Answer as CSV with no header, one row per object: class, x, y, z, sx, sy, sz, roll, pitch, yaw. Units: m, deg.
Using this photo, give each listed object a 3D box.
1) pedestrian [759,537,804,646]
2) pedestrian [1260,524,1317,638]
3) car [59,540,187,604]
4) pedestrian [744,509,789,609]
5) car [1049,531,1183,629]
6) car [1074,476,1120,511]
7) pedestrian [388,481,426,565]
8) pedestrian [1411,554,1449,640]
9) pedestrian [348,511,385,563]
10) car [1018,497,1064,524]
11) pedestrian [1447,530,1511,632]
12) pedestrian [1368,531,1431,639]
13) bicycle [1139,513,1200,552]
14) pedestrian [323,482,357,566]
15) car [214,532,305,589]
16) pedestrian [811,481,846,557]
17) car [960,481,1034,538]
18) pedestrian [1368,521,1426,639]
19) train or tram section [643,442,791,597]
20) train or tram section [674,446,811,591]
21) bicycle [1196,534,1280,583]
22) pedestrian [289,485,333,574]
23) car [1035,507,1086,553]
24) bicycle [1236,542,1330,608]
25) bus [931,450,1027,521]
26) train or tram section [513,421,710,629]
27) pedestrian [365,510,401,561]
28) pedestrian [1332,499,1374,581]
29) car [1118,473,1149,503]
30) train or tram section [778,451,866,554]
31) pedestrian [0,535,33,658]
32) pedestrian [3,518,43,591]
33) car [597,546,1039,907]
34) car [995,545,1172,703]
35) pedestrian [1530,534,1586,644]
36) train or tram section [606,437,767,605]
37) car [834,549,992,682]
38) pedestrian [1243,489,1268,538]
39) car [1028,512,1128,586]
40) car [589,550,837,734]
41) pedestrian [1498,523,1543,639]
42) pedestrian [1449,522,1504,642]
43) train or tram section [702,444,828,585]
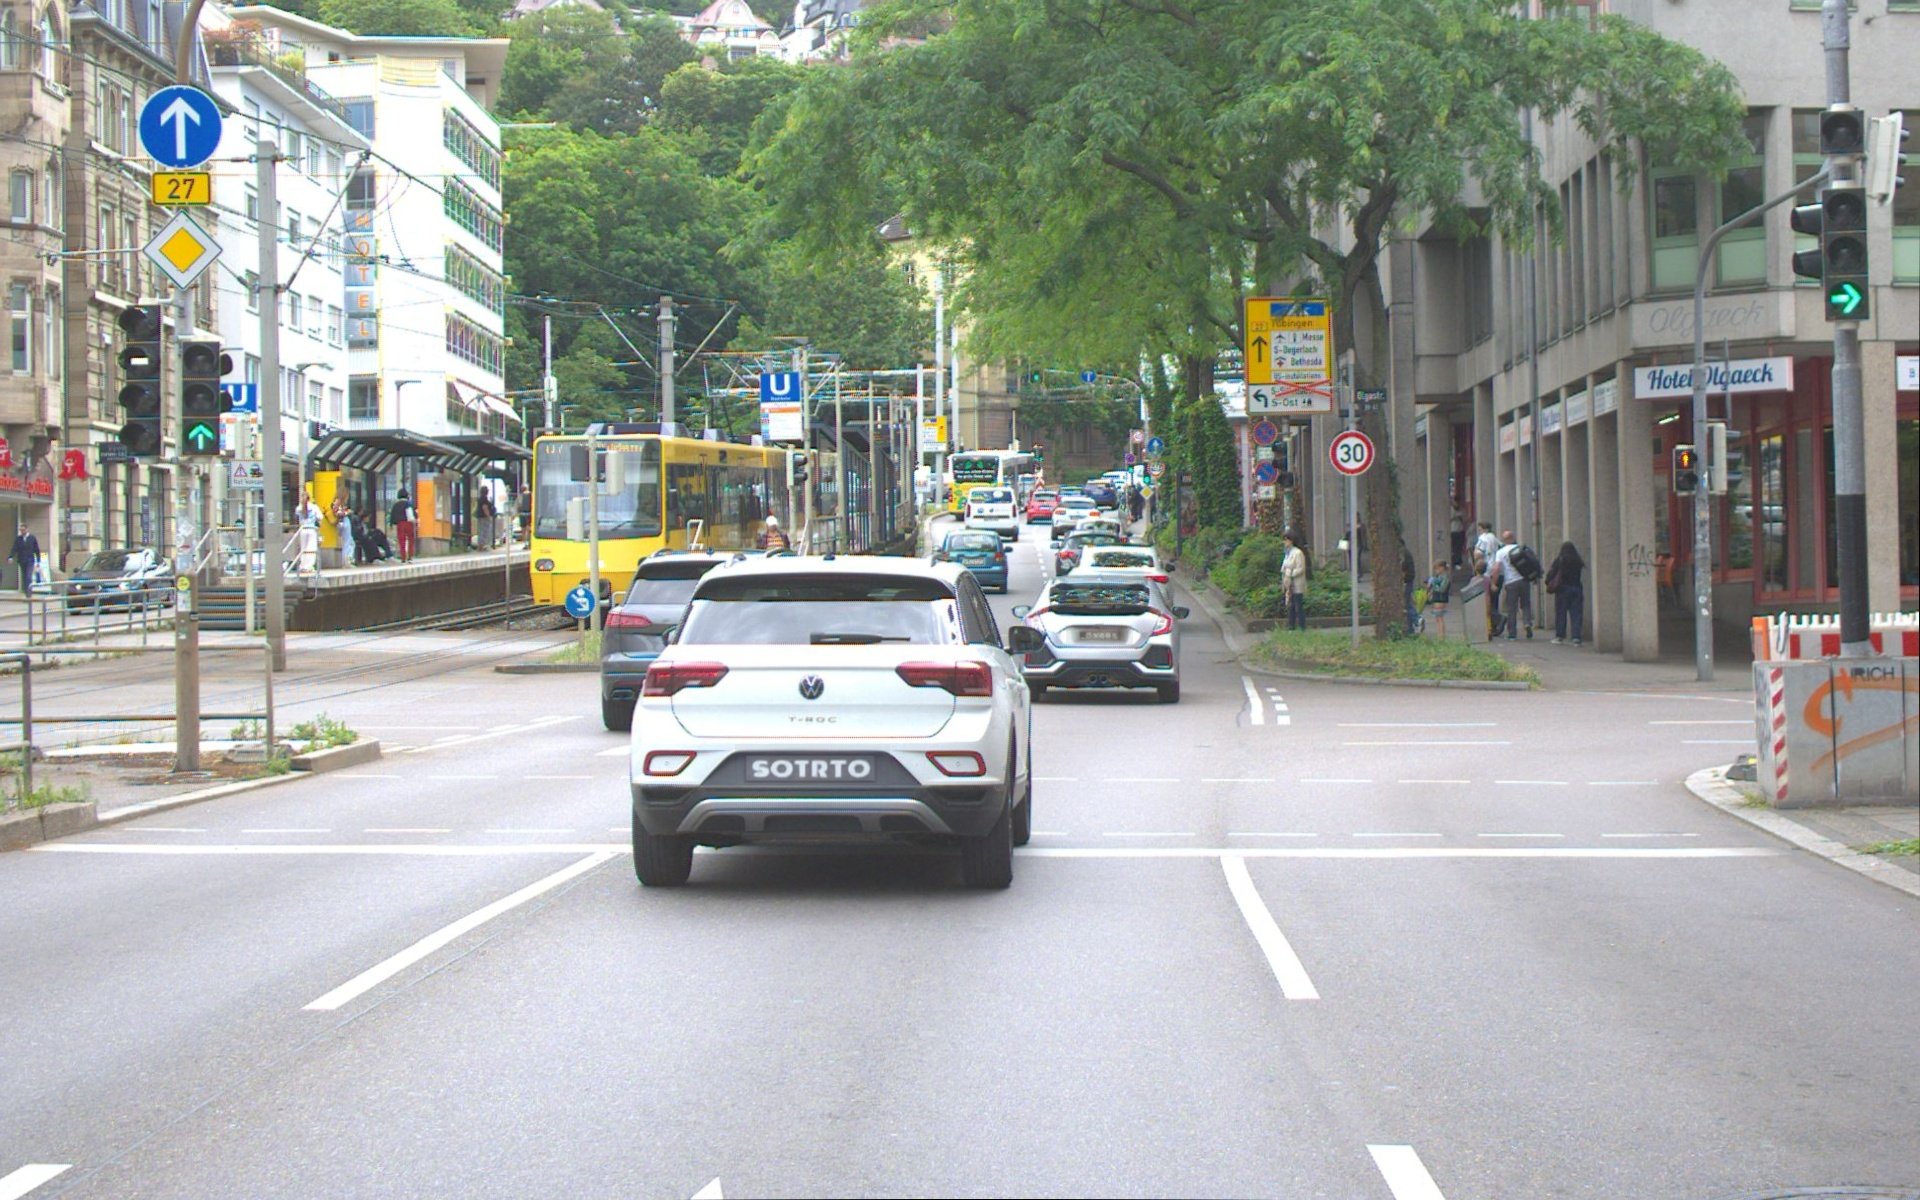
pedestrian,-2.837,-0.143,54.658,0.635,1.705,0.871,0,2,2
pedestrian,5.305,-0.314,55.498,0.693,1.771,0.689,-5,1,-2
car,-19.211,-0.666,79.013,1.632,1.370,3.782,-2,1,6
pedestrian,-3.312,-0.703,58.878,0.685,1.705,0.712,0,2,2
car,2.764,-0.371,61.766,1.884,1.678,4.162,1,1,-5
car,7.010,-5.447,175.919,1.885,1.678,4.160,1,1,9
pedestrian,-11.689,-1.621,72.712,0.627,1.756,0.846,0,1,3
pedestrian,7.272,-0.047,53.202,0.471,1.329,0.520,1,0,-2
pedestrian,-12.663,-1.350,73.388,0.635,1.104,0.690,0,2,2
car,3.668,-4.025,154.803,1.583,1.168,3.677,1,1,9
pedestrian,8.047,-0.297,53.351,0.835,1.557,0.764,1,0,-2
pedestrian,7.061,-0.247,55.279,0.835,1.698,0.764,-2,1,-2
bicycle,6.904,-2.231,113.327,1.882,1.262,0.764,1,0,13
pedestrian,-12.716,-1.557,70.554,0.635,1.705,0.690,0,2,-7
car,-19.252,-1.092,94.576,1.559,1.518,3.600,1,1,4
pedestrian,-2.986,-1.837,78.207,0.718,1.725,0.670,1,0,3
car,1.404,-3.338,128.002,2.365,2.007,5.147,1,1,5
pedestrian,6.883,-0.320,54.181,0.721,1.796,0.835,-2,3,-2
train or tram section,-5.694,-1.914,81.321,2.835,3.509,5.752,1,2,2
train or tram section,-5.460,-2.072,87.075,2.835,3.509,5.752,1,2,2
bicycle,6.676,-1.003,82.575,1.916,1.073,0.613,-3,1,-1
pedestrian,-12.531,-1.366,66.387,0.688,1.705,0.662,0,2,1
car,3.853,-2.644,130.795,1.885,1.678,4.161,1,1,2
bicycle,6.206,-0.480,66.071,1.707,1.180,0.449,-2,1,-5
bus,0.991,-5.395,164.003,3.372,3.054,13.322,1,1,5
train or tram section,-6.408,-1.413,64.037,2.835,3.666,5.752,1,2,2
pedestrian,-12.587,-1.408,75.021,0.635,1.104,0.690,0,2,2
pedestrian,8.877,-1.363,77.723,0.762,1.776,0.848,-2,3,-3
car,9.761,-6.303,193.428,1.673,1.555,3.678,1,1,2
train or tram section,-5.053,-3.592,126.884,2.813,3.653,6.752,1,2,1
pedestrian,-13.617,-0.055,48.168,0.876,1.699,0.811,0,1,31
pedestrian,-22.742,-1.113,83.437,0.627,1.756,0.846,-1,1,-40
car,-0.586,0.568,17.350,1.837,1.578,4.156,1,0,3
car,1.384,0.240,39.213,1.885,1.678,4.161,1,1,1
pedestrian,9.032,-0.164,51.899,0.762,1.606,0.618,-1,4,14
train or tram section,-5.951,-1.744,75.547,2.835,3.509,5.752,1,2,2
car,-0.628,0.183,48.973,1.912,1.683,4.000,1,2,4
pedestrian,9.947,-2.909,115.621,0.635,1.609,0.588,1,0,-18
car,3.292,-1.441,97.240,2.364,2.007,5.149,1,1,-3
car,-2.276,0.355,32.645,1.993,1.630,4.000,0,1,1
pedestrian,8.700,-0.296,53.388,0.518,1.783,0.764,1,0,-2
pedestrian,8.149,-0.288,54.240,0.733,1.868,0.733,0,0,-2
train or tram section,-5.222,-2.309,92.906,2.813,3.653,5.902,1,2,2
